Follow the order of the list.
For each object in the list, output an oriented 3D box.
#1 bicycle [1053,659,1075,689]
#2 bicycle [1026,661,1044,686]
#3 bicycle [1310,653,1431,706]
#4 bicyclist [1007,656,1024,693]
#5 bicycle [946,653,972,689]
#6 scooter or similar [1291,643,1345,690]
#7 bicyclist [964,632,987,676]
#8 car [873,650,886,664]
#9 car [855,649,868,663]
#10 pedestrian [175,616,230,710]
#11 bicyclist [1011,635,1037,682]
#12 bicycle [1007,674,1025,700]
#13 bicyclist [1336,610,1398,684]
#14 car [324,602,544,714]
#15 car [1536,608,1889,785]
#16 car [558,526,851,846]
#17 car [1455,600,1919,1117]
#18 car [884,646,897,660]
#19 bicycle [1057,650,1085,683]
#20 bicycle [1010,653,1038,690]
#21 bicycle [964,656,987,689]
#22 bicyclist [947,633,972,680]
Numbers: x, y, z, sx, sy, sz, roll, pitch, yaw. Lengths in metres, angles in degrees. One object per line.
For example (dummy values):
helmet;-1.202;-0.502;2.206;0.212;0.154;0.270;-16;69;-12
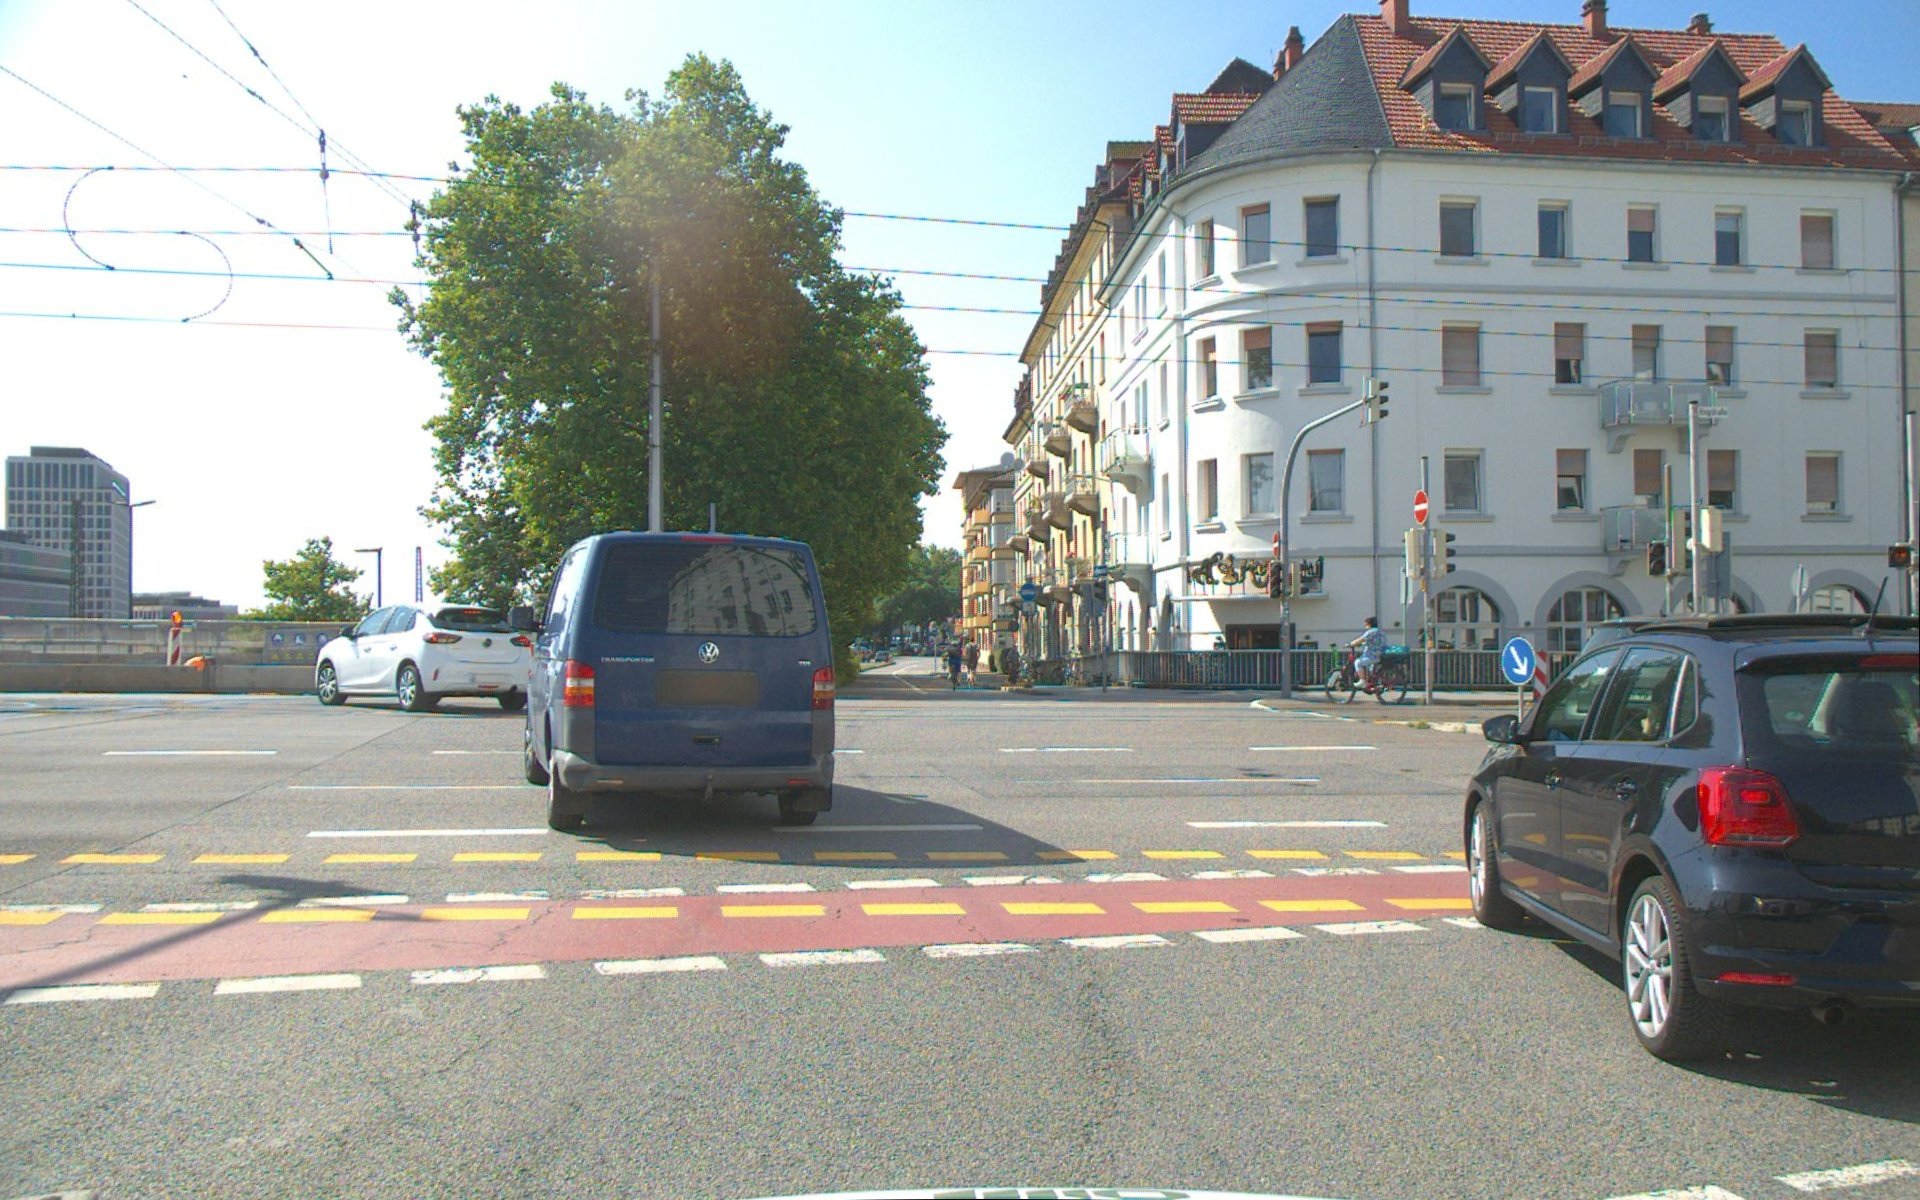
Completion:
bicycle;3.931;2.792;62.822;0.666;1.094;2.292;0;-2;-1
bicycle;3.330;3.260;73.674;0.666;1.094;2.292;0;-2;-1
bicycle;8.082;1.557;32.649;0.861;1.007;2.209;3;-3;-44
bicyclist;2.402;3.216;71.558;0.693;1.577;0.784;-2;-1;0
bicycle;-0.028;2.386;55.795;0.820;1.157;2.858;1;-2;0
scooter or similar;8.814;1.641;40.715;1.272;1.137;0.339;0;-2;10
bicyclist;0.560;1.955;59.575;0.820;1.565;1.023;1;-2;0
car;-10.173;7.221;209.085;1.593;1.651;3.693;1;-1;-3
car;-12.410;7.047;208.387;1.593;1.651;3.693;1;-1;-3
pedestrian;-15.139;1.242;33.052;0.854;1.826;0.811;1;0;-37
bicyclist;2.090;1.918;54.346;0.820;1.534;0.952;1;-2;0
bicycle;2.411;3.758;71.544;0.693;1.008;1.819;-2;-1;0
bicyclist;8.049;0.931;32.712;0.902;1.440;0.862;-1;-3;45
car;-7.378;0.812;23.066;1.708;1.430;3.360;2;-3;-42
car;7.729;0.917;16.907;3.613;1.583;1.677;1;0;-35
car;-2.026;0.537;12.200;1.785;1.939;4.040;1;0;-14
car;3.219;0.778;6.693;1.556;1.519;3.664;1;0;4
car;-8.473;6.471;201.320;1.593;1.651;3.693;1;-1;-3
bicycle;3.978;2.394;59.350;0.820;1.157;2.858;1;-2;0
bicycle;2.097;2.345;54.428;0.820;1.157;2.858;1;-2;0
bicycle;0.557;2.598;59.459;0.820;1.157;2.858;1;-2;1
bicyclist;-0.022;1.909;55.837;0.820;1.565;1.023;1;-2;0
